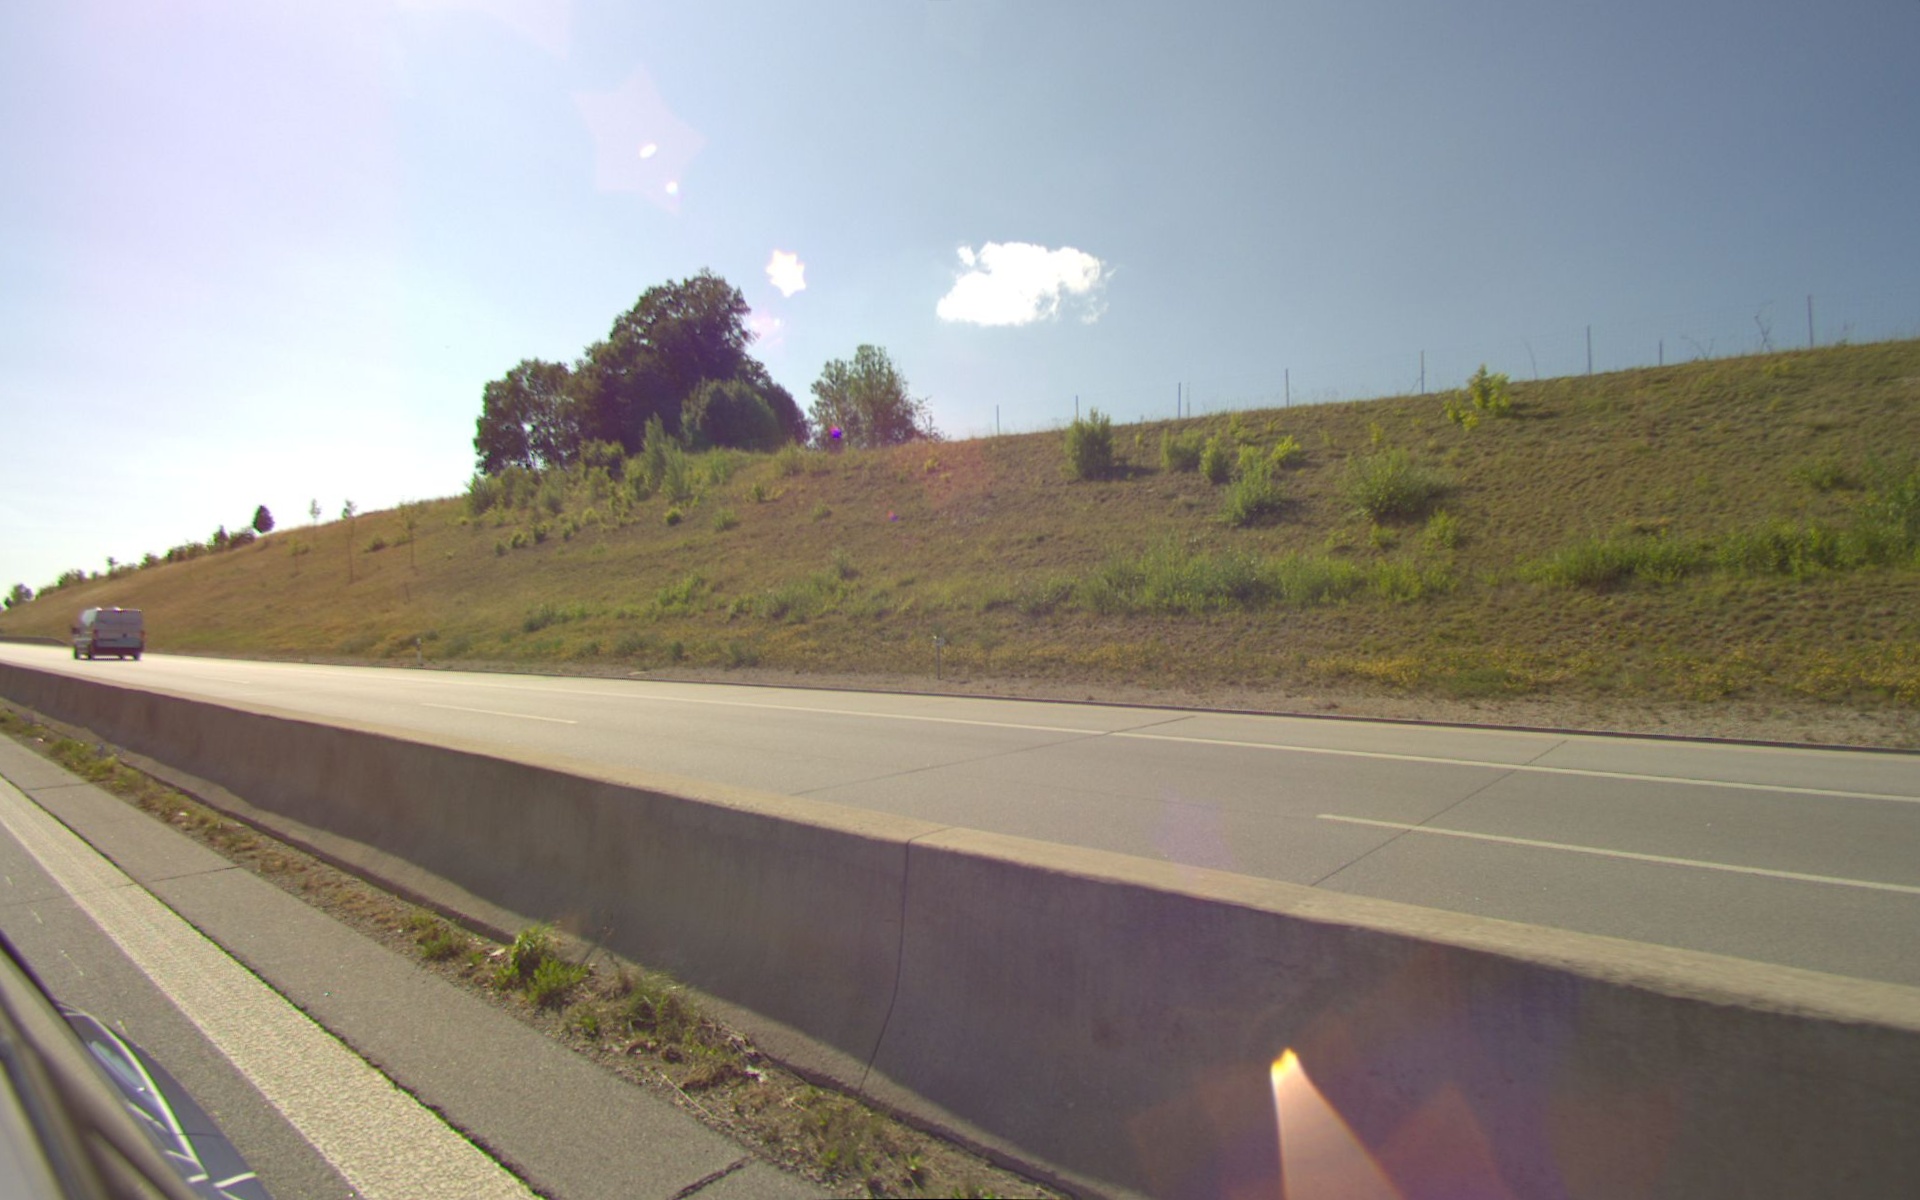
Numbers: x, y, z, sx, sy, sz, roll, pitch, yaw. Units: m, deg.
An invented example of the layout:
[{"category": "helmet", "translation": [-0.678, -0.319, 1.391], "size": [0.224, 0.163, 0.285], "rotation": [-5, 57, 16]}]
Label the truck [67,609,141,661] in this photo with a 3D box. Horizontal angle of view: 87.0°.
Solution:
[{"category": "truck", "translation": [-42.795, 1.730, 50.552], "size": [5.664, 2.467, 1.973], "rotation": [-2, -2, 41]}]
